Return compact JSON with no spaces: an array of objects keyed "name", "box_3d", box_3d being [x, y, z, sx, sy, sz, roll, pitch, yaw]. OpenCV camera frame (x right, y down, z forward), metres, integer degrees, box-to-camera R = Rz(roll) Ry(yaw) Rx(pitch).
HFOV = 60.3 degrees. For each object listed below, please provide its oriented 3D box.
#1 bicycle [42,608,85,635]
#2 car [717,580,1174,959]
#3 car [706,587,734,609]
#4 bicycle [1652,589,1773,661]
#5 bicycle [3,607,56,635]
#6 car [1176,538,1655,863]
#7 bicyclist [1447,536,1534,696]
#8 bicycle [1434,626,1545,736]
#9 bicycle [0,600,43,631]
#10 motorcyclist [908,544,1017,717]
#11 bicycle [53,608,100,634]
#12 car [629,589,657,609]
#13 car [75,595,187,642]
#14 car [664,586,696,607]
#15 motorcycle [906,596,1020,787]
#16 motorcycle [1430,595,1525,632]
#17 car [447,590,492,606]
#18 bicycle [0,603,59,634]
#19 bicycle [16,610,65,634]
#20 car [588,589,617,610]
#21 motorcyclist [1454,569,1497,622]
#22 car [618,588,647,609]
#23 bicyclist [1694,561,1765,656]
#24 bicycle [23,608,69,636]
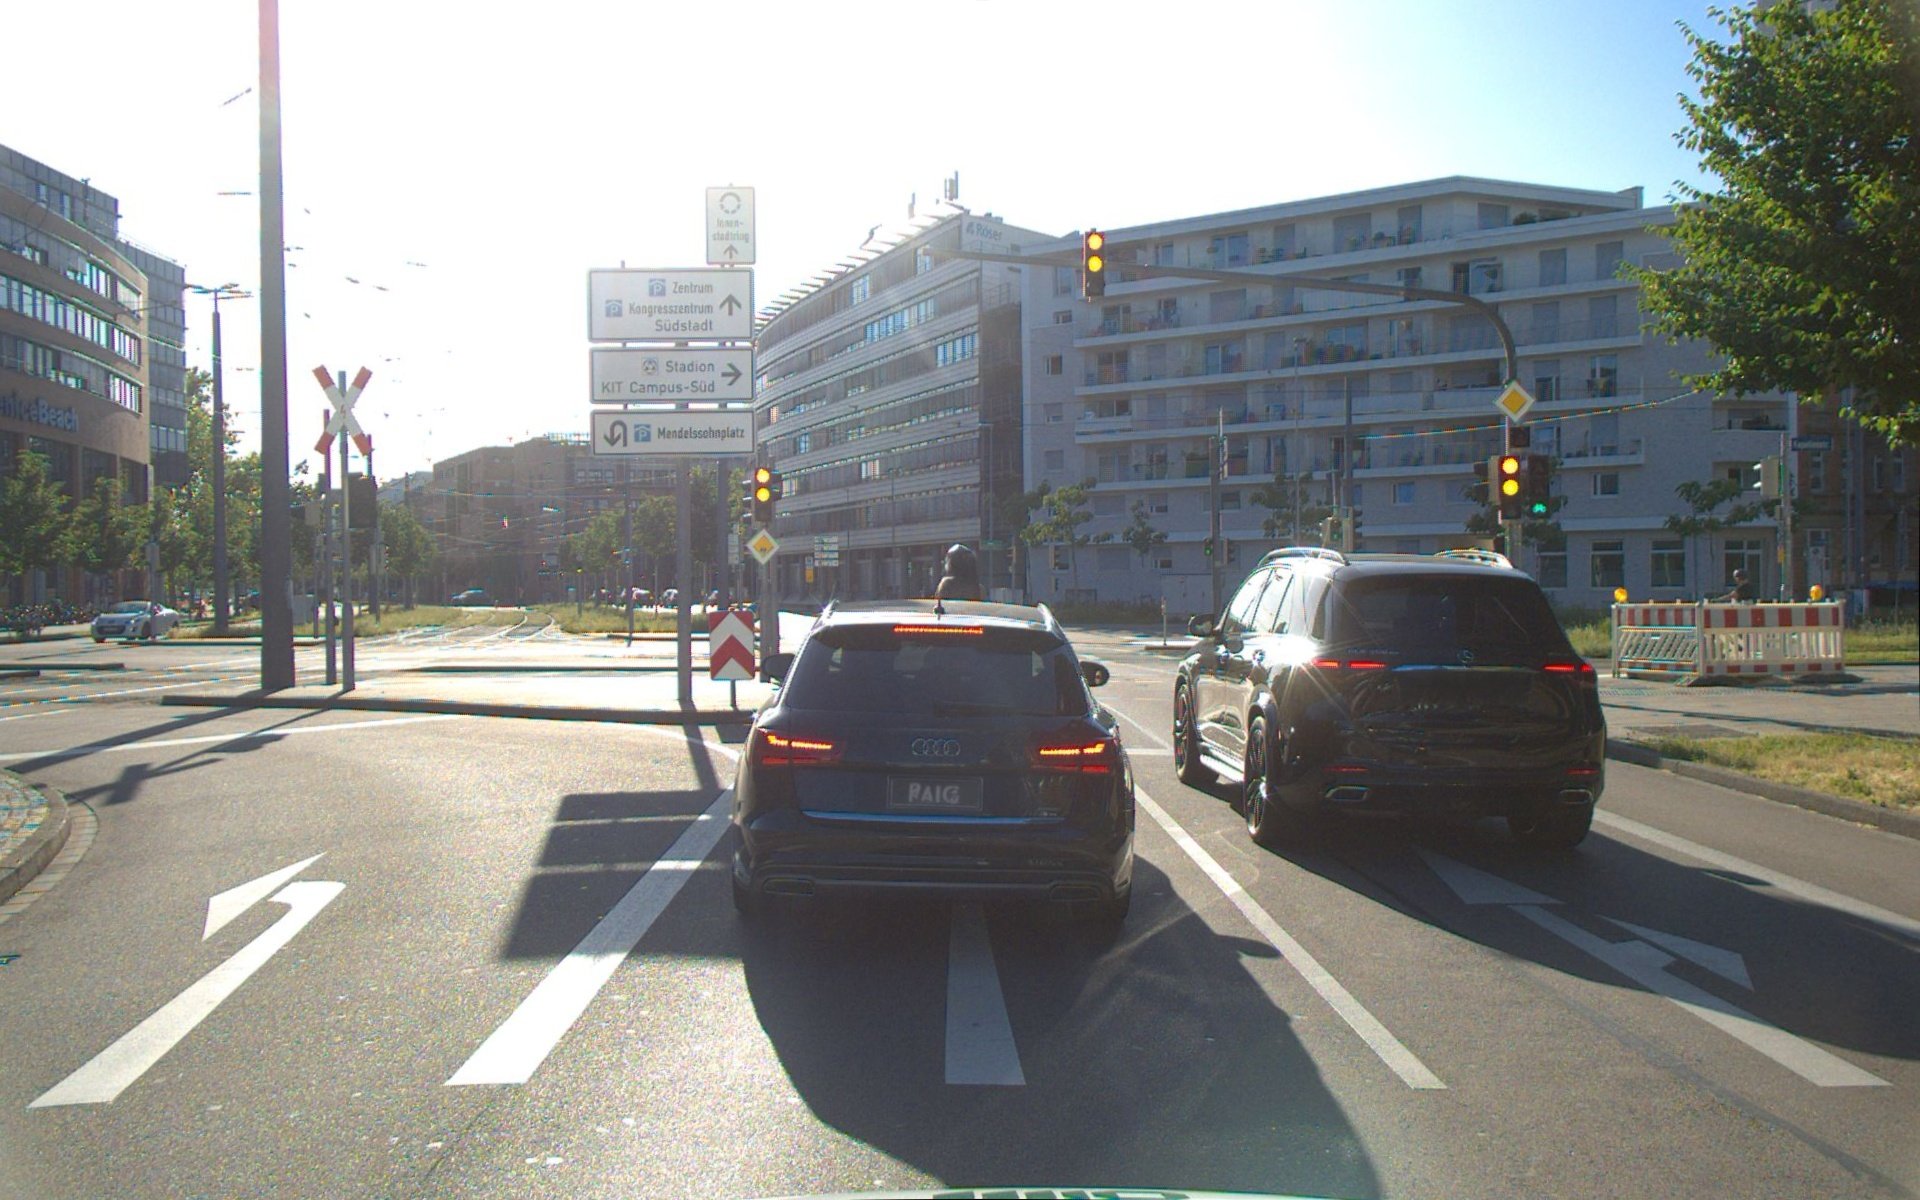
[{"name":"bicycle","box_3d":[-50.868,1.241,93.856,2.092,1.458,0.759,-2,0,8]},{"name":"car","box_3d":[-0.097,0.658,8.606,1.805,1.479,3.999,1,1,-1]},{"name":"car","box_3d":[-21.767,-0.194,149.744,1.961,1.870,3.982,-1,0,-16]},{"name":"bicycle","box_3d":[14.076,0.454,30.994,0.756,1.284,2.064,-1,0,-26]},{"name":"bicycle","box_3d":[-50.387,1.121,89.548,2.551,1.458,0.772,-2,0,8]},{"name":"car","box_3d":[2.779,0.522,11.237,1.962,1.745,4.371,1,1,-1]},{"name":"bicyclist","box_3d":[5.690,0.163,17.773,0.640,1.671,0.972,0,1,2]},{"name":"bicycle","box_3d":[5.659,0.839,17.779,0.640,1.061,1.930,0,1,2]},{"name":"bicycle","box_3d":[-46.349,0.754,80.933,2.507,1.458,0.905,-2,0,8]},{"name":"motorcyclist","box_3d":[0.014,0.235,13.327,0.845,1.349,0.681,0,0,-1]},{"name":"bicycle","box_3d":[-50.763,1.198,95.032,2.369,1.458,0.789,-2,0,8]},{"name":"car","box_3d":[-26.748,-0.055,139.614,1.961,1.624,3.982,-1,0,-16]},{"name":"car","box_3d":[-30.044,0.640,60.098,1.954,1.572,4.527,-1,1,-3]},{"name":"car","box_3d":[-23.261,-0.295,137.331,1.964,1.624,3.977,-1,0,-19]},{"name":"motorcycle","box_3d":[0.009,0.685,13.320,0.845,1.417,1.893,0,0,-1]},{"name":"motorcycle","box_3d":[14.998,0.384,47.969,2.401,1.018,1.172,-1,0,2]},{"name":"car","box_3d":[-52.456,-0.222,176.974,4.348,1.668,1.981,-1,0,-29]},{"name":"bicycle","box_3d":[-46.784,0.921,83.175,2.507,1.458,0.905,-2,0,8]},{"name":"bicycle","box_3d":[-50.568,1.228,90.973,2.362,1.257,0.745,-2,0,8]},{"name":"car","box_3d":[-31.327,0.004,144.855,1.963,1.736,3.978,-1,0,-19]},{"name":"motorcyclist","box_3d":[14.945,-0.125,47.964,0.905,1.507,1.172,-1,0,2]},{"name":"car","box_3d":[-28.813,-0.147,145.552,1.963,1.736,3.978,-1,0,-19]},{"name":"bicyclist","box_3d":[14.242,0.153,30.634,0.757,1.736,0.922,-1,0,-26]},{"name":"bicycle","box_3d":[-50.725,1.224,91.820,2.197,1.458,0.719,-2,0,8]}]
